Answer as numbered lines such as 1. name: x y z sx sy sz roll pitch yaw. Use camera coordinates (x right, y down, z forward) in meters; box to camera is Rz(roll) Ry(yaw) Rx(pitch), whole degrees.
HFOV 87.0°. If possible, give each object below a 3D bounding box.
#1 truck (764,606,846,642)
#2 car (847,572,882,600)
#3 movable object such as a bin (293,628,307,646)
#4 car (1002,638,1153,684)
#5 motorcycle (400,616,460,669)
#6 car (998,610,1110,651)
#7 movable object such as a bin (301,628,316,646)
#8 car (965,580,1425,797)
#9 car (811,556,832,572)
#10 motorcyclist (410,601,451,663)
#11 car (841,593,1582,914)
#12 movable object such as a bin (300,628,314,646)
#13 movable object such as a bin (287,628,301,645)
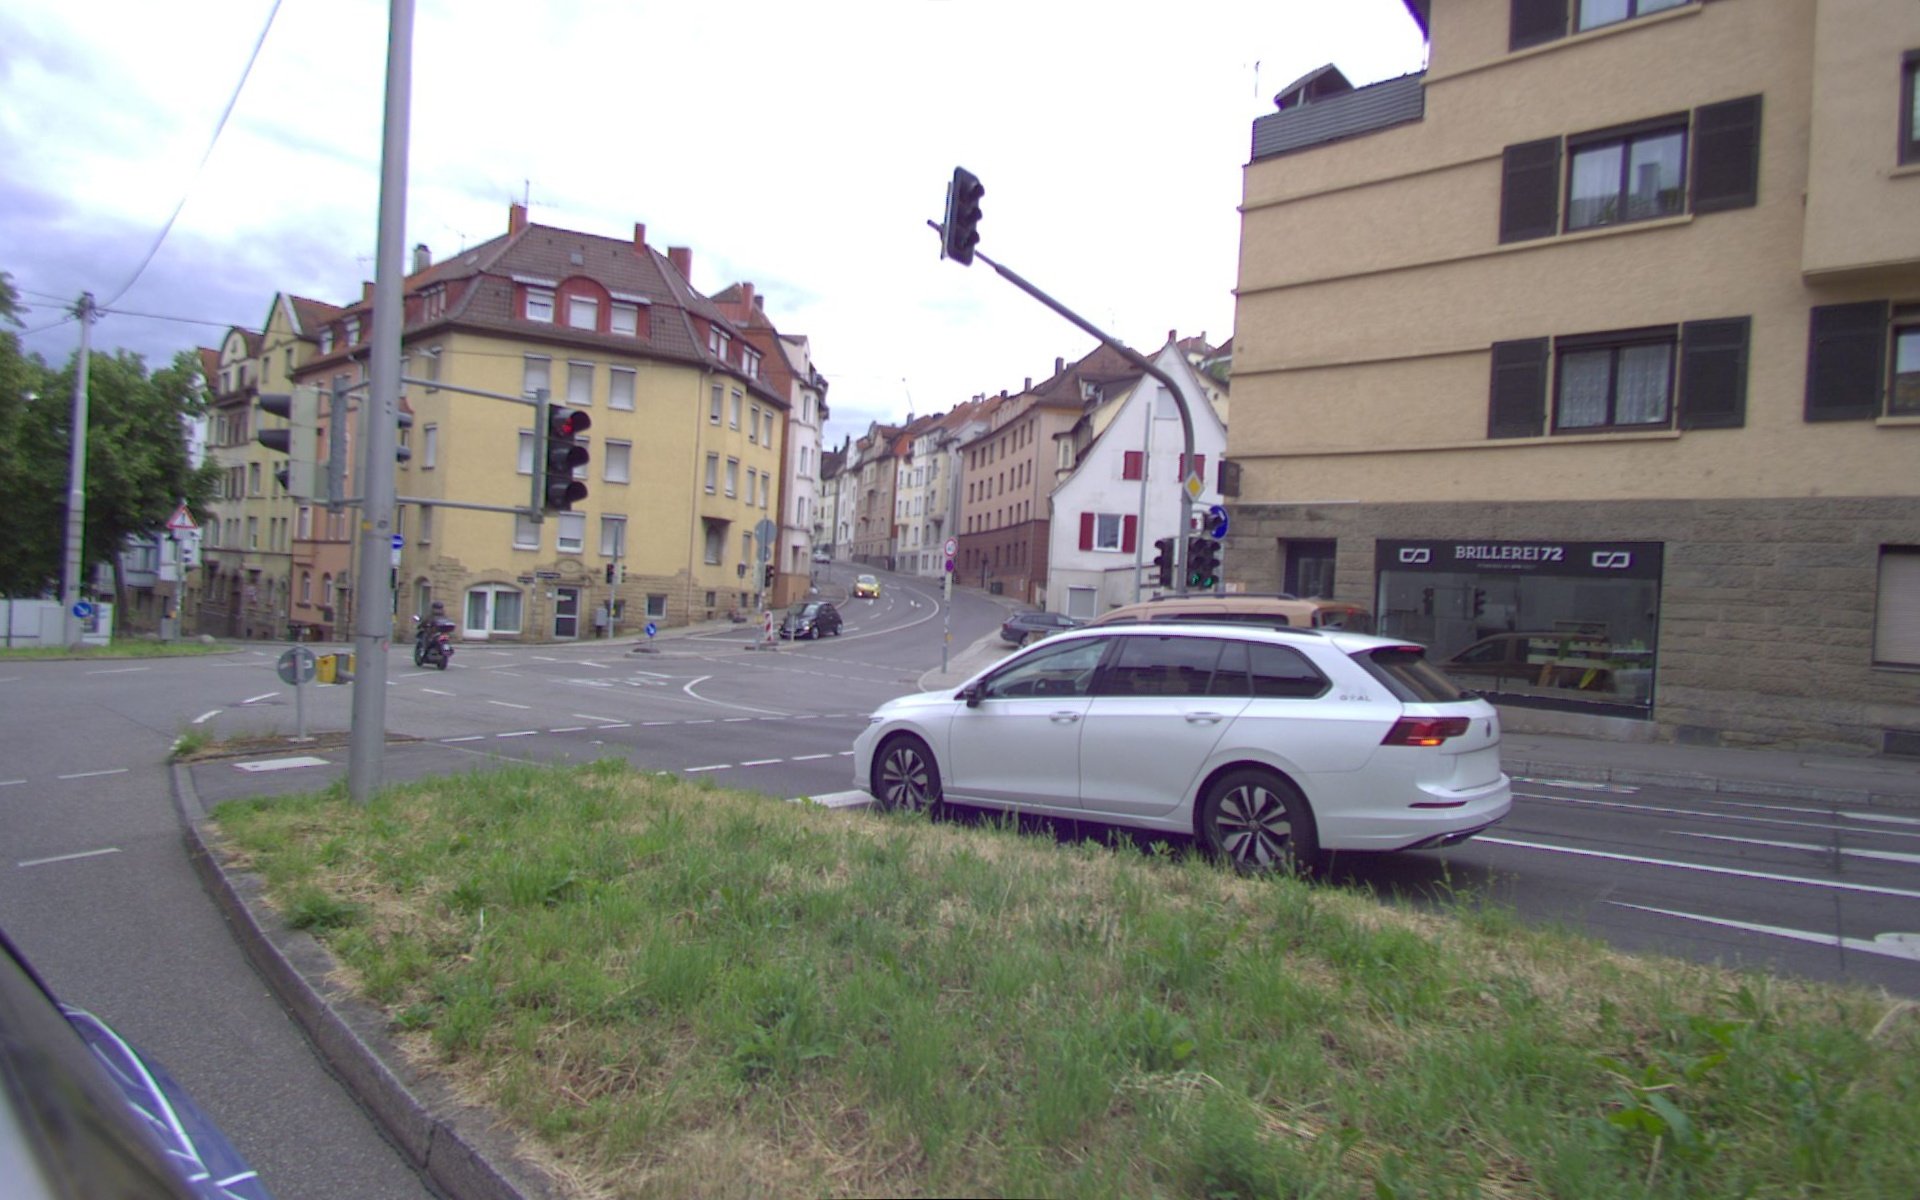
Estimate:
1. truck: -6.541 1.011 43.192 1.838 1.429 3.975 0 -1 19
2. car: -6.754 -0.948 71.195 1.832 1.734 3.866 1 -2 -14
3. movable object such as a bin: -33.146 1.860 50.821 0.480 0.871 0.449 4 -3 -44
4. car: 3.364 1.725 29.248 3.932 1.198 1.841 1 0 -15
5. motorcycle: -12.978 1.018 24.749 2.205 1.193 0.539 0 -1 42
6. car: 3.706 1.208 40.461 4.238 1.476 1.683 1 3 -1
7. movable object such as a bin: -32.231 1.853 50.068 0.480 0.871 0.449 4 -3 -44
8. car: 2.303 0.848 10.692 4.350 1.830 1.859 -3 -3 42
9. car: -17.178 -4.439 125.277 1.831 1.734 3.867 1 -2 -18
10. motorcyclist: -12.946 0.767 24.739 0.662 1.486 0.665 0 -1 42
11. car: 1.405 0.762 6.843 4.582 1.478 1.728 -1 -3 40
12. movable object such as a bin: -32.616 1.862 50.521 0.480 0.871 0.449 4 -3 -44
13. movable object such as a bin: -34.015 1.873 51.690 0.480 0.871 0.449 4 -3 -44
